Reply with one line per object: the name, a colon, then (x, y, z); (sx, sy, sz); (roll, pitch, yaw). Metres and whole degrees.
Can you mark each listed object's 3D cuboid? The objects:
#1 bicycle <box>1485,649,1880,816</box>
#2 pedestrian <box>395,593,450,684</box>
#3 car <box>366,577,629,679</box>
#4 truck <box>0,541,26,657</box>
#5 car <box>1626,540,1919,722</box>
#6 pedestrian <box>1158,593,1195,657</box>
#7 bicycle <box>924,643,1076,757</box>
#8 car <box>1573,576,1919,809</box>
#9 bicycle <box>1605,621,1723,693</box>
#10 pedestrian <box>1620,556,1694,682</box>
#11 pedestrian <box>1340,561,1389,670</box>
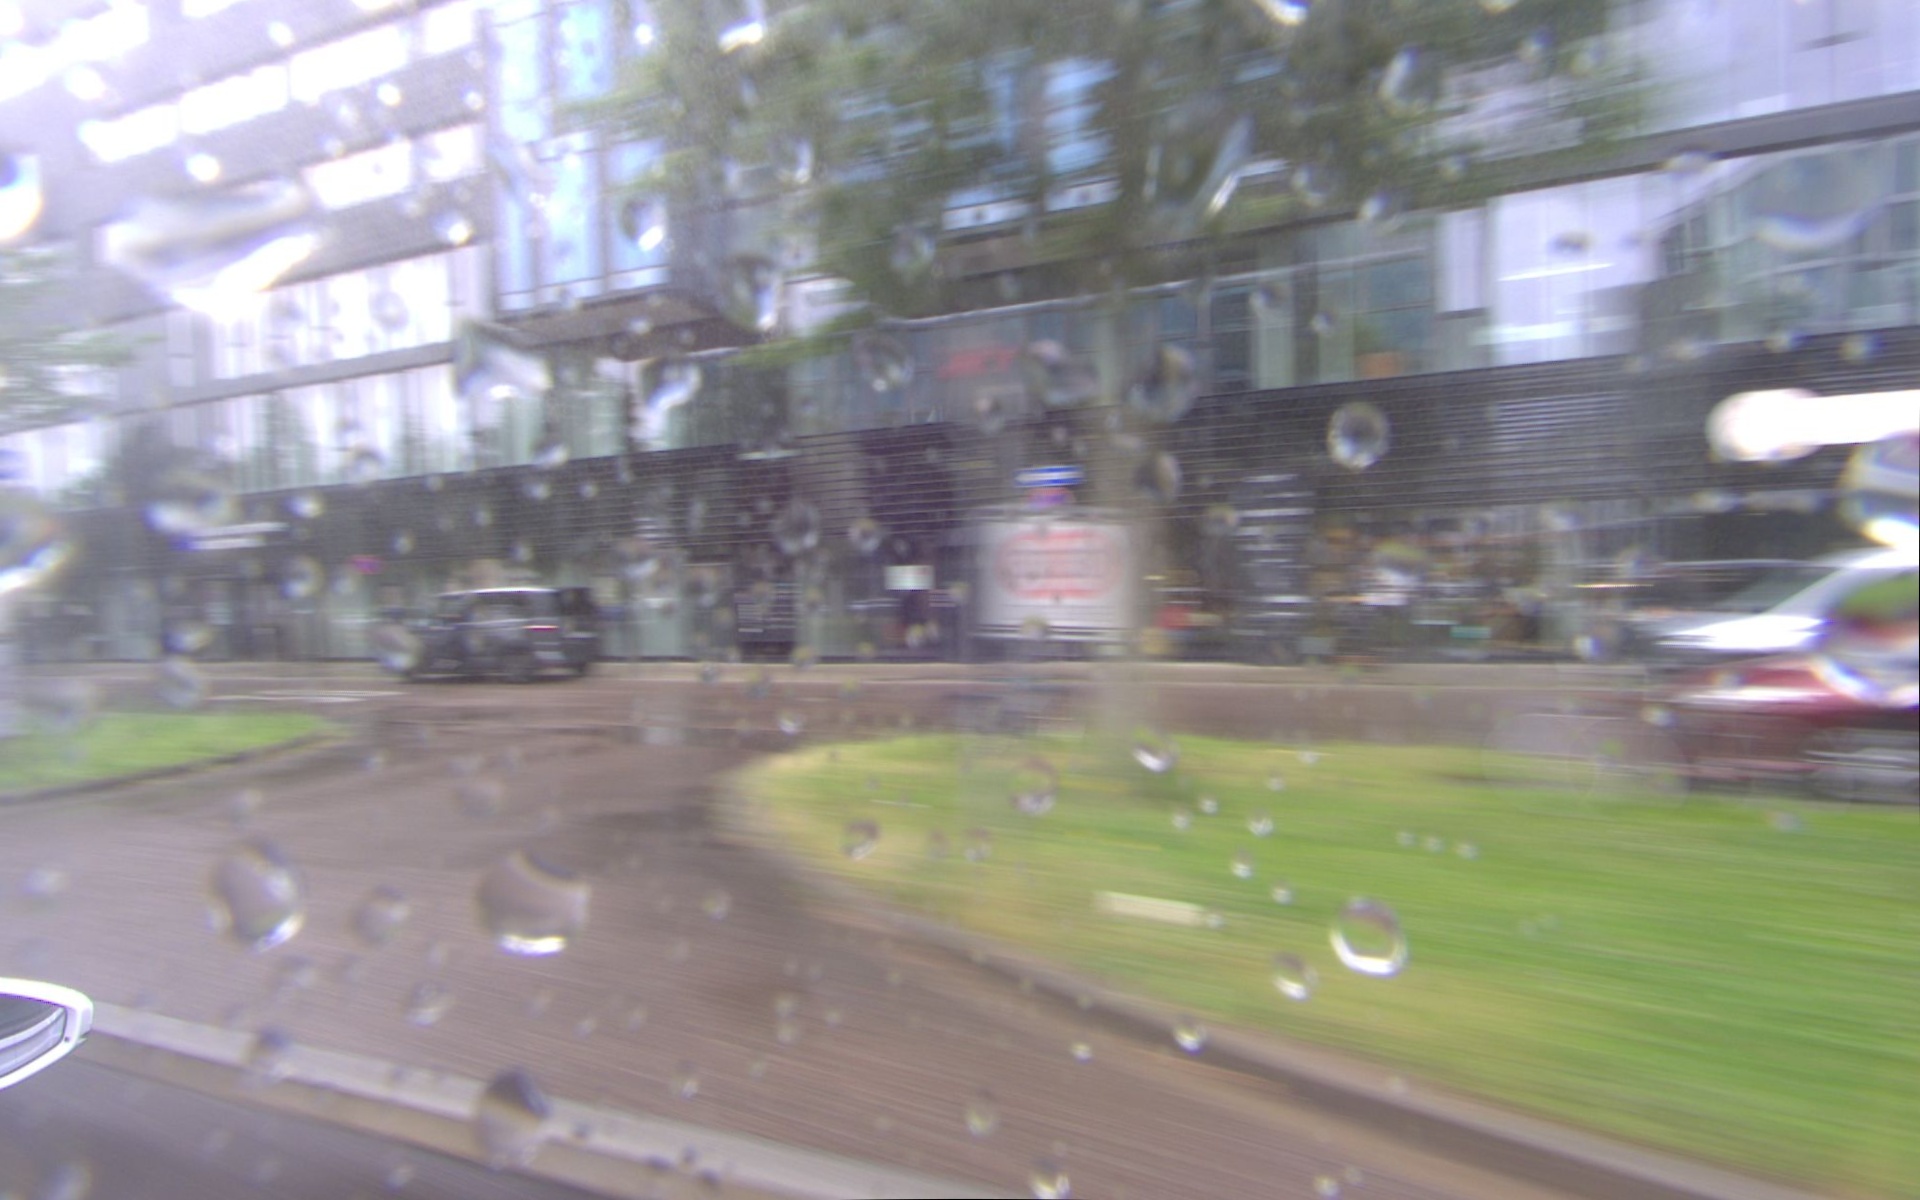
bicycle: (4.313, 0.774, 6.091); (1.877, 0.873, 0.574); (1, 2, 7)
pedestrian: (-10.693, 0.759, 19.937); (0.789, 1.763, 0.580); (1, 1, 20)
car: (-9.693, 0.584, 20.992); (5.060, 1.946, 1.995); (-1, 1, 21)
truck: (-33.185, 0.072, 30.788); (8.399, 3.487, 3.027); (-1, 1, 20)
car: (10.489, 0.311, 11.235); (4.640, 1.891, 1.895); (1, 2, 20)
pedestrian: (4.324, 0.483, 20.035); (0.443, 1.254, 0.579); (0, 2, -25)
bicycle: (0.387, 0.898, 9.284); (1.443, 0.929, 0.430); (0, 2, -35)
car: (7.234, 0.561, 6.901); (4.876, 1.474, 1.994); (-1, 1, 23)
bicycle: (9.505, 0.758, 13.552); (1.210, 0.909, 0.437); (1, 2, 19)
pedestrian: (9.807, 0.254, 14.105); (0.645, 1.728, 0.626); (1, 2, 17)
pedestrian: (6.998, 0.263, 17.348); (0.566, 1.858, 0.506); (0, 2, -13)
